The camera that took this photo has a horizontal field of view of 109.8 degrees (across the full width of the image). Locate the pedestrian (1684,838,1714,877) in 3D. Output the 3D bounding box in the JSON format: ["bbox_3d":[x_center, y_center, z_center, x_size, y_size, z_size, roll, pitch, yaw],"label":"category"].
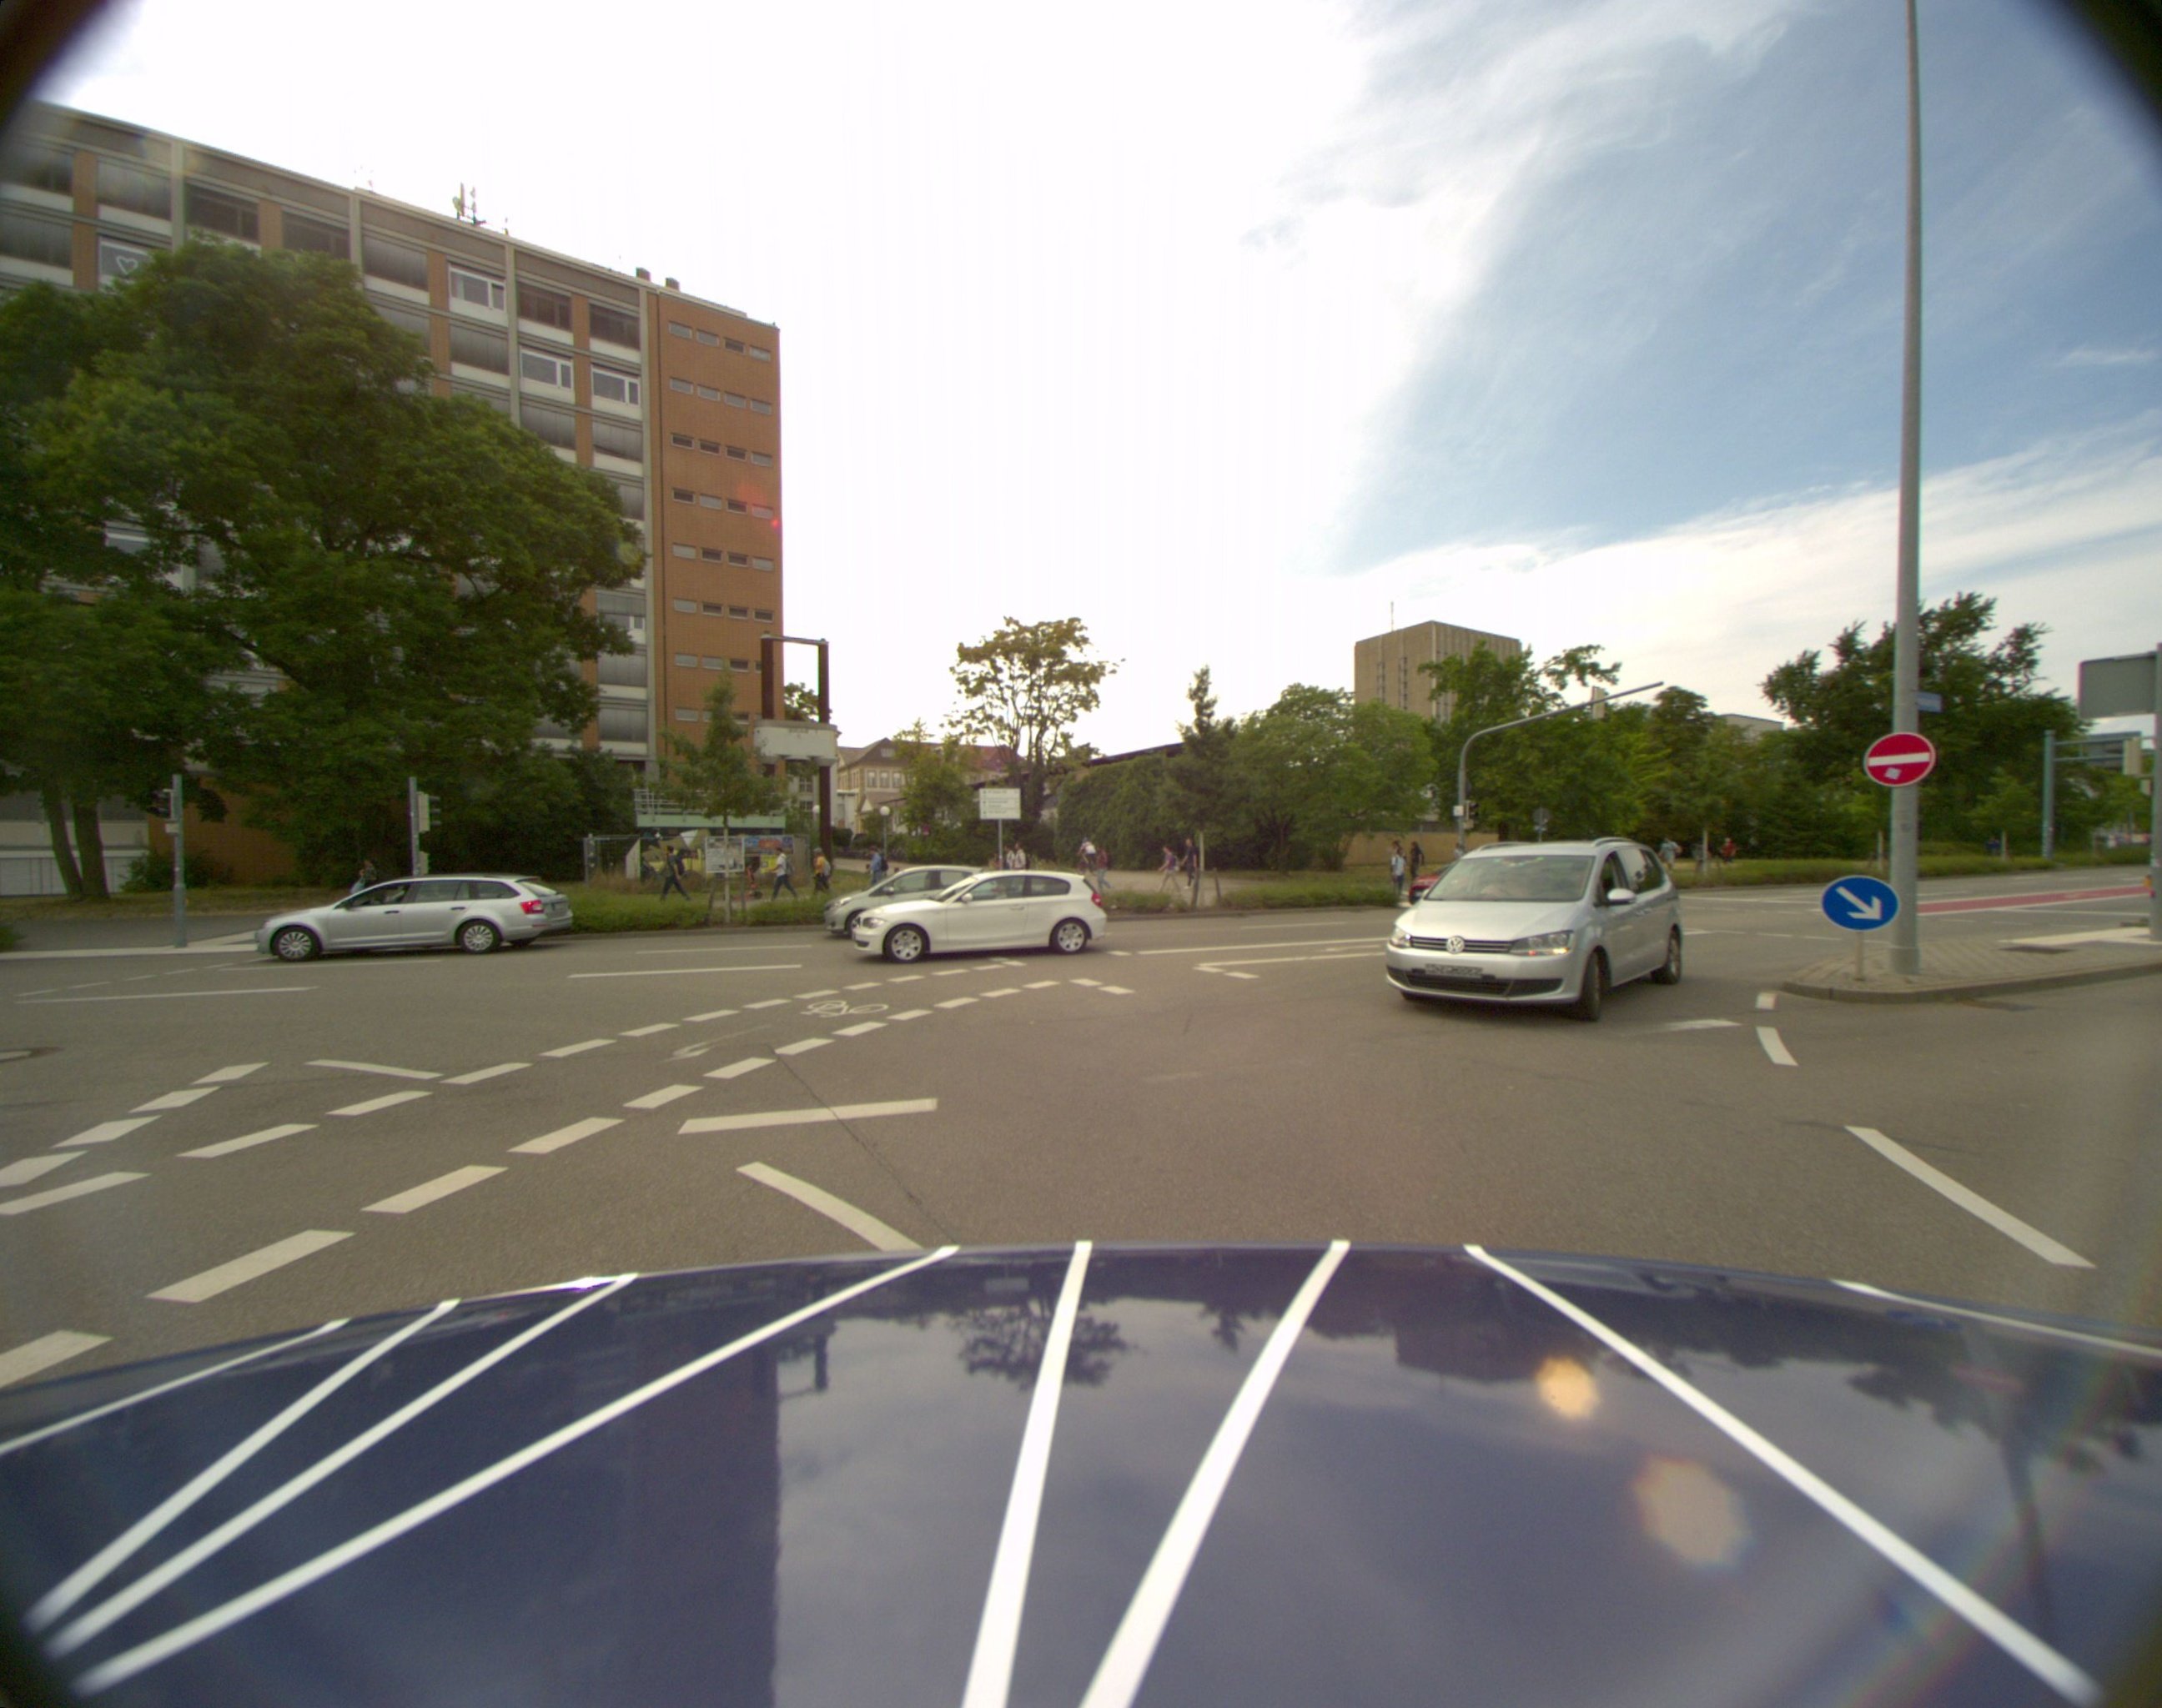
[{"bbox_3d":[27.126,0.157,33.349,0.694,1.701,0.733,-2,0,-22],"label":"pedestrian"}]

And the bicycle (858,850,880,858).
[{"bbox_3d":[-18.886,0.022,67.696,1.846,0.690,0.651,-1,0,-18],"label":"bicycle"}]

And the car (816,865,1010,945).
[{"bbox_3d":[-3.589,1.041,16.476,3.877,1.480,1.670,-1,0,-13],"label":"car"}]

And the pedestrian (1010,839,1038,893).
[{"bbox_3d":[-1.868,0.392,24.790,0.709,1.701,0.639,-2,0,-22],"label":"pedestrian"}]

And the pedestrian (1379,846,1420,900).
[{"bbox_3d":[10.205,0.604,24.370,0.840,1.701,0.798,-2,0,-20],"label":"pedestrian"}]

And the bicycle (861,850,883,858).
[{"bbox_3d":[-18.262,-0.006,66.365,1.846,0.690,0.651,-1,0,-18],"label":"bicycle"}]

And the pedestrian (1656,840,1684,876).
[{"bbox_3d":[28.623,0.191,36.909,0.696,1.701,0.840,-2,0,-29],"label":"pedestrian"}]

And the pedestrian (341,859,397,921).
[{"bbox_3d":[-19.012,0.945,20.310,0.813,1.565,0.778,-2,3,-22],"label":"pedestrian"}]

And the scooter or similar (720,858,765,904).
[{"bbox_3d":[-10.383,0.814,23.320,1.150,1.362,0.398,-1,0,-36],"label":"scooter or similar"}]

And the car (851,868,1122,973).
[{"bbox_3d":[-1.614,1.019,12.902,4.227,1.449,1.757,-1,0,-21],"label":"car"}]

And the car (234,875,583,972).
[{"bbox_3d":[-12.241,1.209,14.186,4.529,1.465,1.823,-1,0,-12],"label":"car"}]

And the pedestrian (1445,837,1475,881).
[{"bbox_3d":[15.280,0.202,30.657,0.801,1.701,0.713,-2,0,-29],"label":"pedestrian"}]

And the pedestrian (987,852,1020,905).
[{"bbox_3d":[-2.417,0.740,23.527,0.800,1.535,0.837,-2,4,-22],"label":"pedestrian"}]

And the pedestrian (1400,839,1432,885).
[{"bbox_3d":[12.767,0.294,28.959,0.801,1.701,0.837,-2,0,-41],"label":"pedestrian"}]

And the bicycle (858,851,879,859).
[{"bbox_3d":[-19.899,0.078,71.097,1.846,0.690,0.651,-1,0,-18],"label":"bicycle"}]

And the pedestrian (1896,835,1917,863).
[{"bbox_3d":[51.173,-0.321,47.105,0.696,1.701,0.713,-2,0,-26],"label":"pedestrian"}]

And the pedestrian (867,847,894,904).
[{"bbox_3d":[-6.276,0.658,23.760,0.709,1.702,0.638,-2,4,-22],"label":"pedestrian"}]

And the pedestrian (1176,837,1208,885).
[{"bbox_3d":[4.033,0.258,27.740,0.801,1.701,0.838,-2,0,-22],"label":"pedestrian"}]

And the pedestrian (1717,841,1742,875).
[{"bbox_3d":[32.906,0.212,38.584,0.696,1.701,0.713,-2,0,-26],"label":"pedestrian"}]

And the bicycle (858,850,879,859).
[{"bbox_3d":[-19.395,0.049,69.314,1.846,0.690,0.651,-1,0,-18],"label":"bicycle"}]

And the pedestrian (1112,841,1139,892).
[{"bbox_3d":[1.527,0.431,26.087,0.634,1.701,0.672,-2,0,-22],"label":"pedestrian"}]

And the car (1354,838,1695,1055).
[{"bbox_3d":[4.993,0.725,8.237,4.537,1.724,1.820,-1,0,-41],"label":"car"}]

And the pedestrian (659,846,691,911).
[{"bbox_3d":[-11.845,0.707,22.162,0.709,1.842,0.638,-2,2,-22],"label":"pedestrian"}]

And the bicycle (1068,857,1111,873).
[{"bbox_3d":[0.401,0.504,35.903,1.848,0.690,0.841,-1,0,-34],"label":"bicycle"}]

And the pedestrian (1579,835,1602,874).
[{"bbox_3d":[22.790,0.017,34.014,0.696,1.687,0.543,-2,4,-29],"label":"pedestrian"}]

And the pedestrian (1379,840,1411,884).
[{"bbox_3d":[12.284,0.309,29.730,0.801,1.701,0.837,-2,0,-41],"label":"pedestrian"}]

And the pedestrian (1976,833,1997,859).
[{"bbox_3d":[61.266,-0.554,51.400,0.696,1.701,0.713,-2,0,-26],"label":"pedestrian"}]

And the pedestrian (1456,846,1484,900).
[{"bbox_3d":[12.532,0.599,24.486,0.588,1.701,0.480,-2,0,-20],"label":"pedestrian"}]

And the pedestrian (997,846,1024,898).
[{"bbox_3d":[-2.350,0.603,25.345,0.709,1.701,0.639,-2,0,-22],"label":"pedestrian"}]

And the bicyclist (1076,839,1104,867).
[{"bbox_3d":[0.412,-0.036,35.929,1.014,1.270,0.837,-2,0,-33],"label":"bicyclist"}]

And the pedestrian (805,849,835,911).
[{"bbox_3d":[-7.364,0.717,21.440,0.709,1.701,0.638,-2,3,-22],"label":"pedestrian"}]

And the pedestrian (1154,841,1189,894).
[{"bbox_3d":[3.011,0.446,25.246,0.801,1.701,0.838,-2,0,-22],"label":"pedestrian"}]

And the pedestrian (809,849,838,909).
[{"bbox_3d":[-7.543,0.727,22.261,0.709,1.701,0.639,-2,0,-22],"label":"pedestrian"}]

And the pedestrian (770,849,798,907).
[{"bbox_3d":[-8.872,0.697,22.682,0.709,1.701,0.639,-2,2,-22],"label":"pedestrian"}]

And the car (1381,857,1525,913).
[{"bbox_3d":[10.415,0.829,21.287,3.460,1.407,1.669,-1,0,-20],"label":"car"}]

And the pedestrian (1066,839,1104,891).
[{"bbox_3d":[0.128,0.367,25.475,1.014,1.701,0.838,-2,0,-22],"label":"pedestrian"}]
